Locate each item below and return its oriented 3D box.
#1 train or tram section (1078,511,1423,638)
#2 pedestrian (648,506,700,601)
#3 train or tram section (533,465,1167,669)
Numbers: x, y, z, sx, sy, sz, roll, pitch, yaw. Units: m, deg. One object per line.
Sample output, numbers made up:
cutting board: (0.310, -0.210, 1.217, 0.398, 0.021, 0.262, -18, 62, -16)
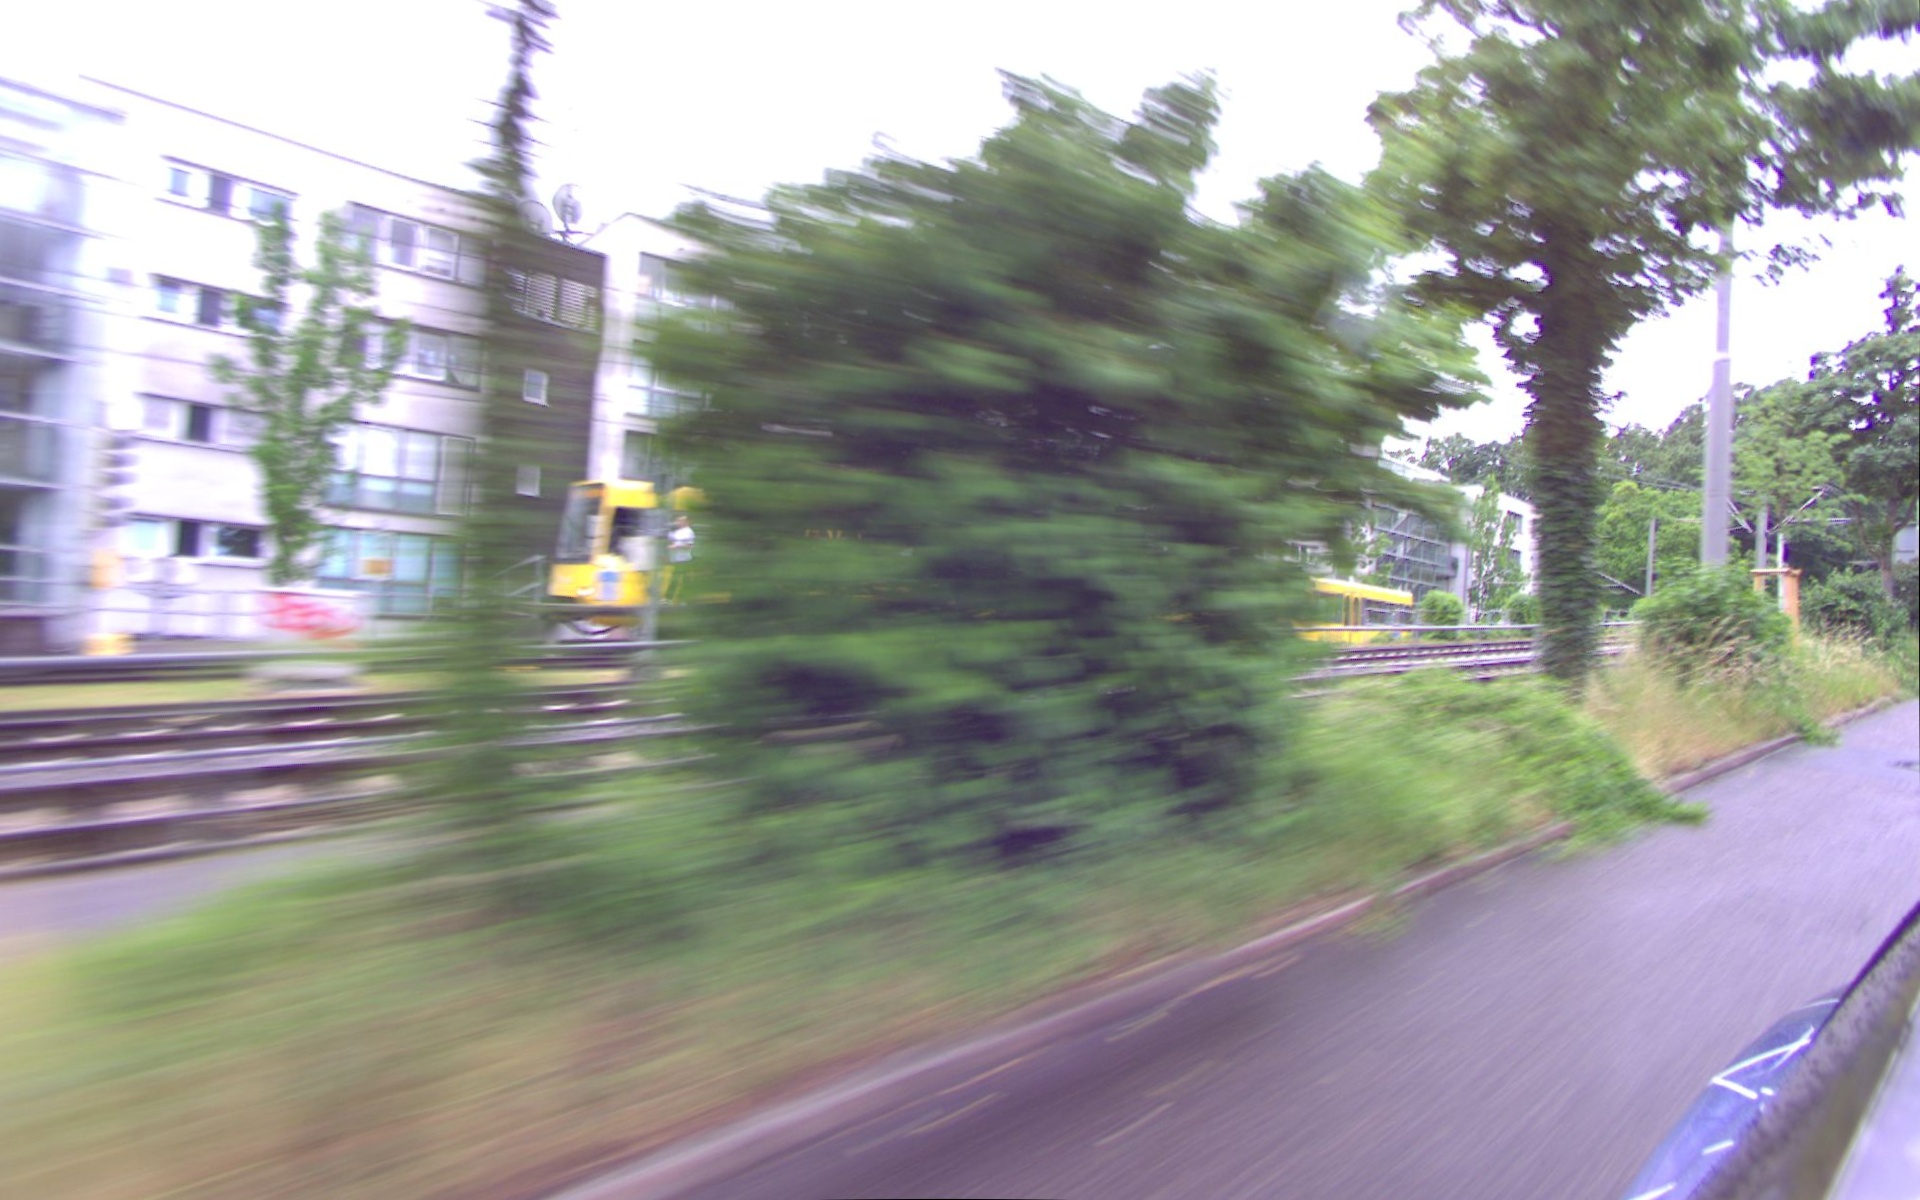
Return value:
train or tram section: (12.178, -0.828, 39.437, 18.948, 3.997, 3.336, 0, 1, -42)
pedestrian: (-5.862, -0.940, 20.755, 0.803, 1.904, 0.723, -1, 1, -40)
train or tram section: (-1.414, -0.743, 27.183, 18.489, 3.997, 3.336, -1, 1, -42)
